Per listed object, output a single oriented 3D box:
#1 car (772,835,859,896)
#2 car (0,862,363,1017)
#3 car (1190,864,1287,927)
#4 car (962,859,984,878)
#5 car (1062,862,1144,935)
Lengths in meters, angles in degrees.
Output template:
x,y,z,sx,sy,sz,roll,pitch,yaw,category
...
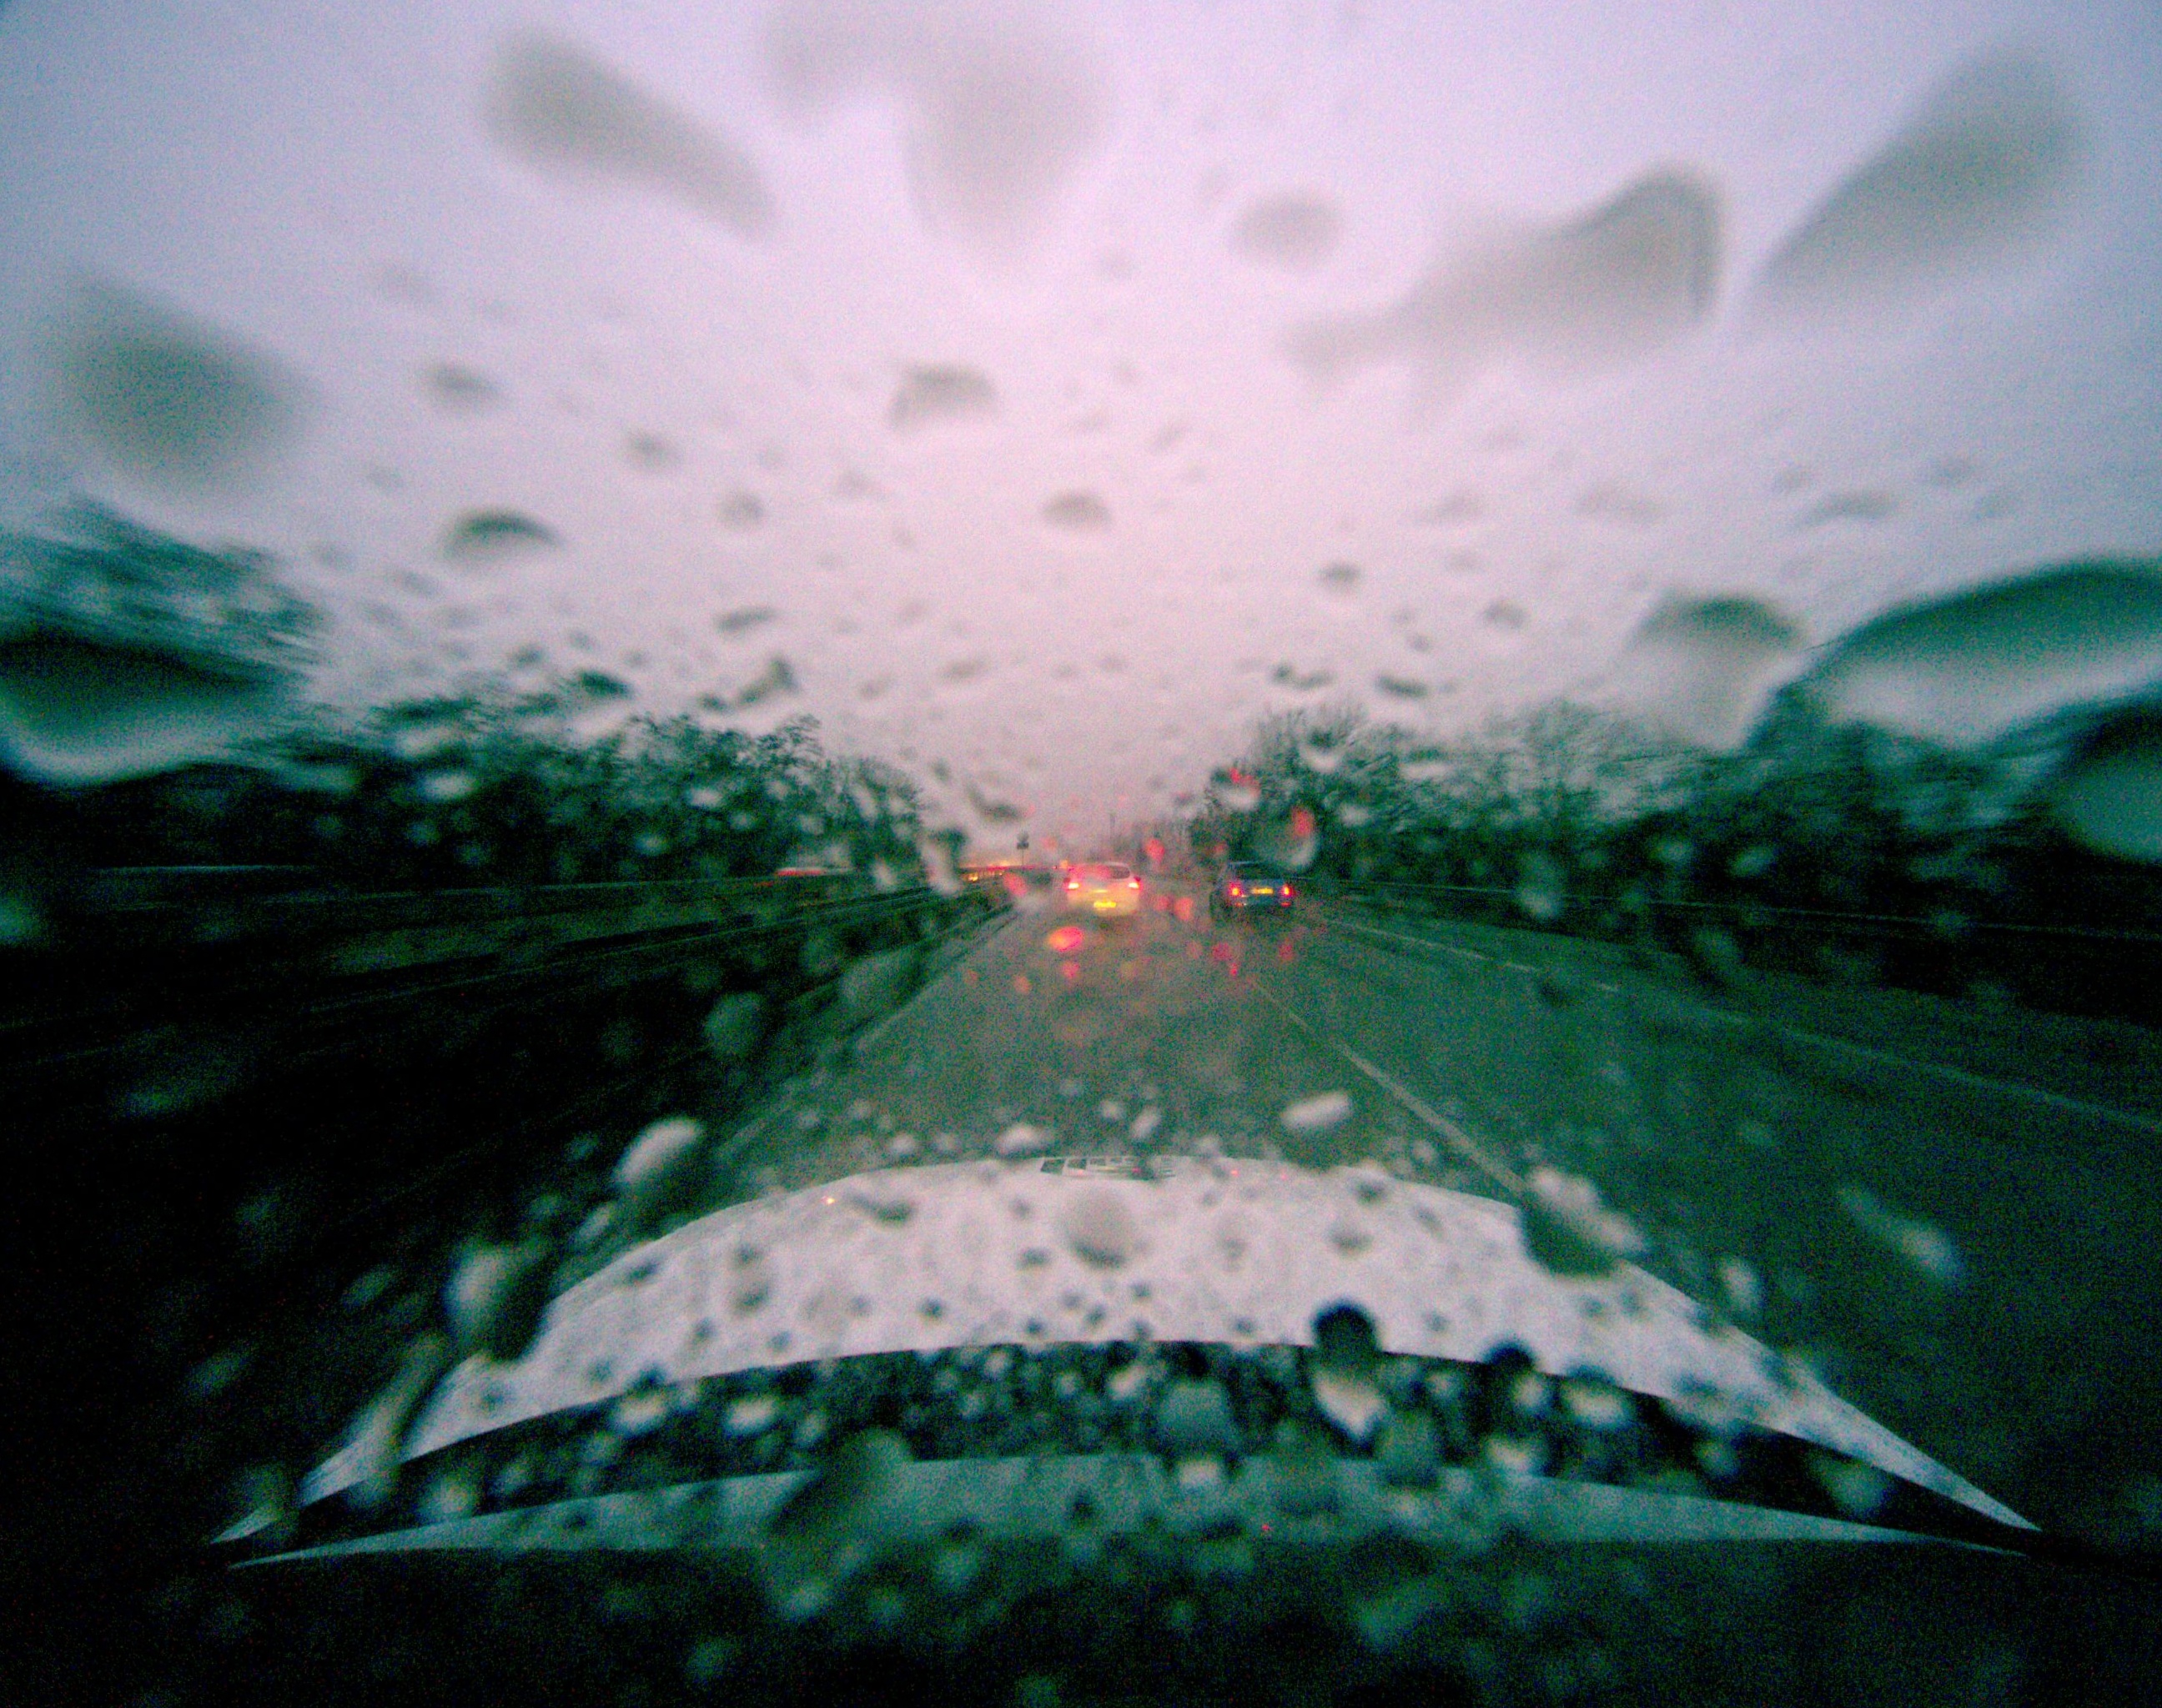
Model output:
x,y,z,sx,sy,sz,roll,pitch,yaw,category
-11.412,0.498,35.428,1.838,2.437,5.418,0,-1,2,car
-11.540,0.867,9.827,1.838,1.529,4.305,0,-1,2,car
3.988,1.006,21.273,1.839,1.453,4.150,0,-1,2,car
-11.984,1.622,90.486,1.930,1.973,4.532,1,-2,-3,car
0.553,1.029,20.366,1.839,1.636,3.769,0,-1,2,car
